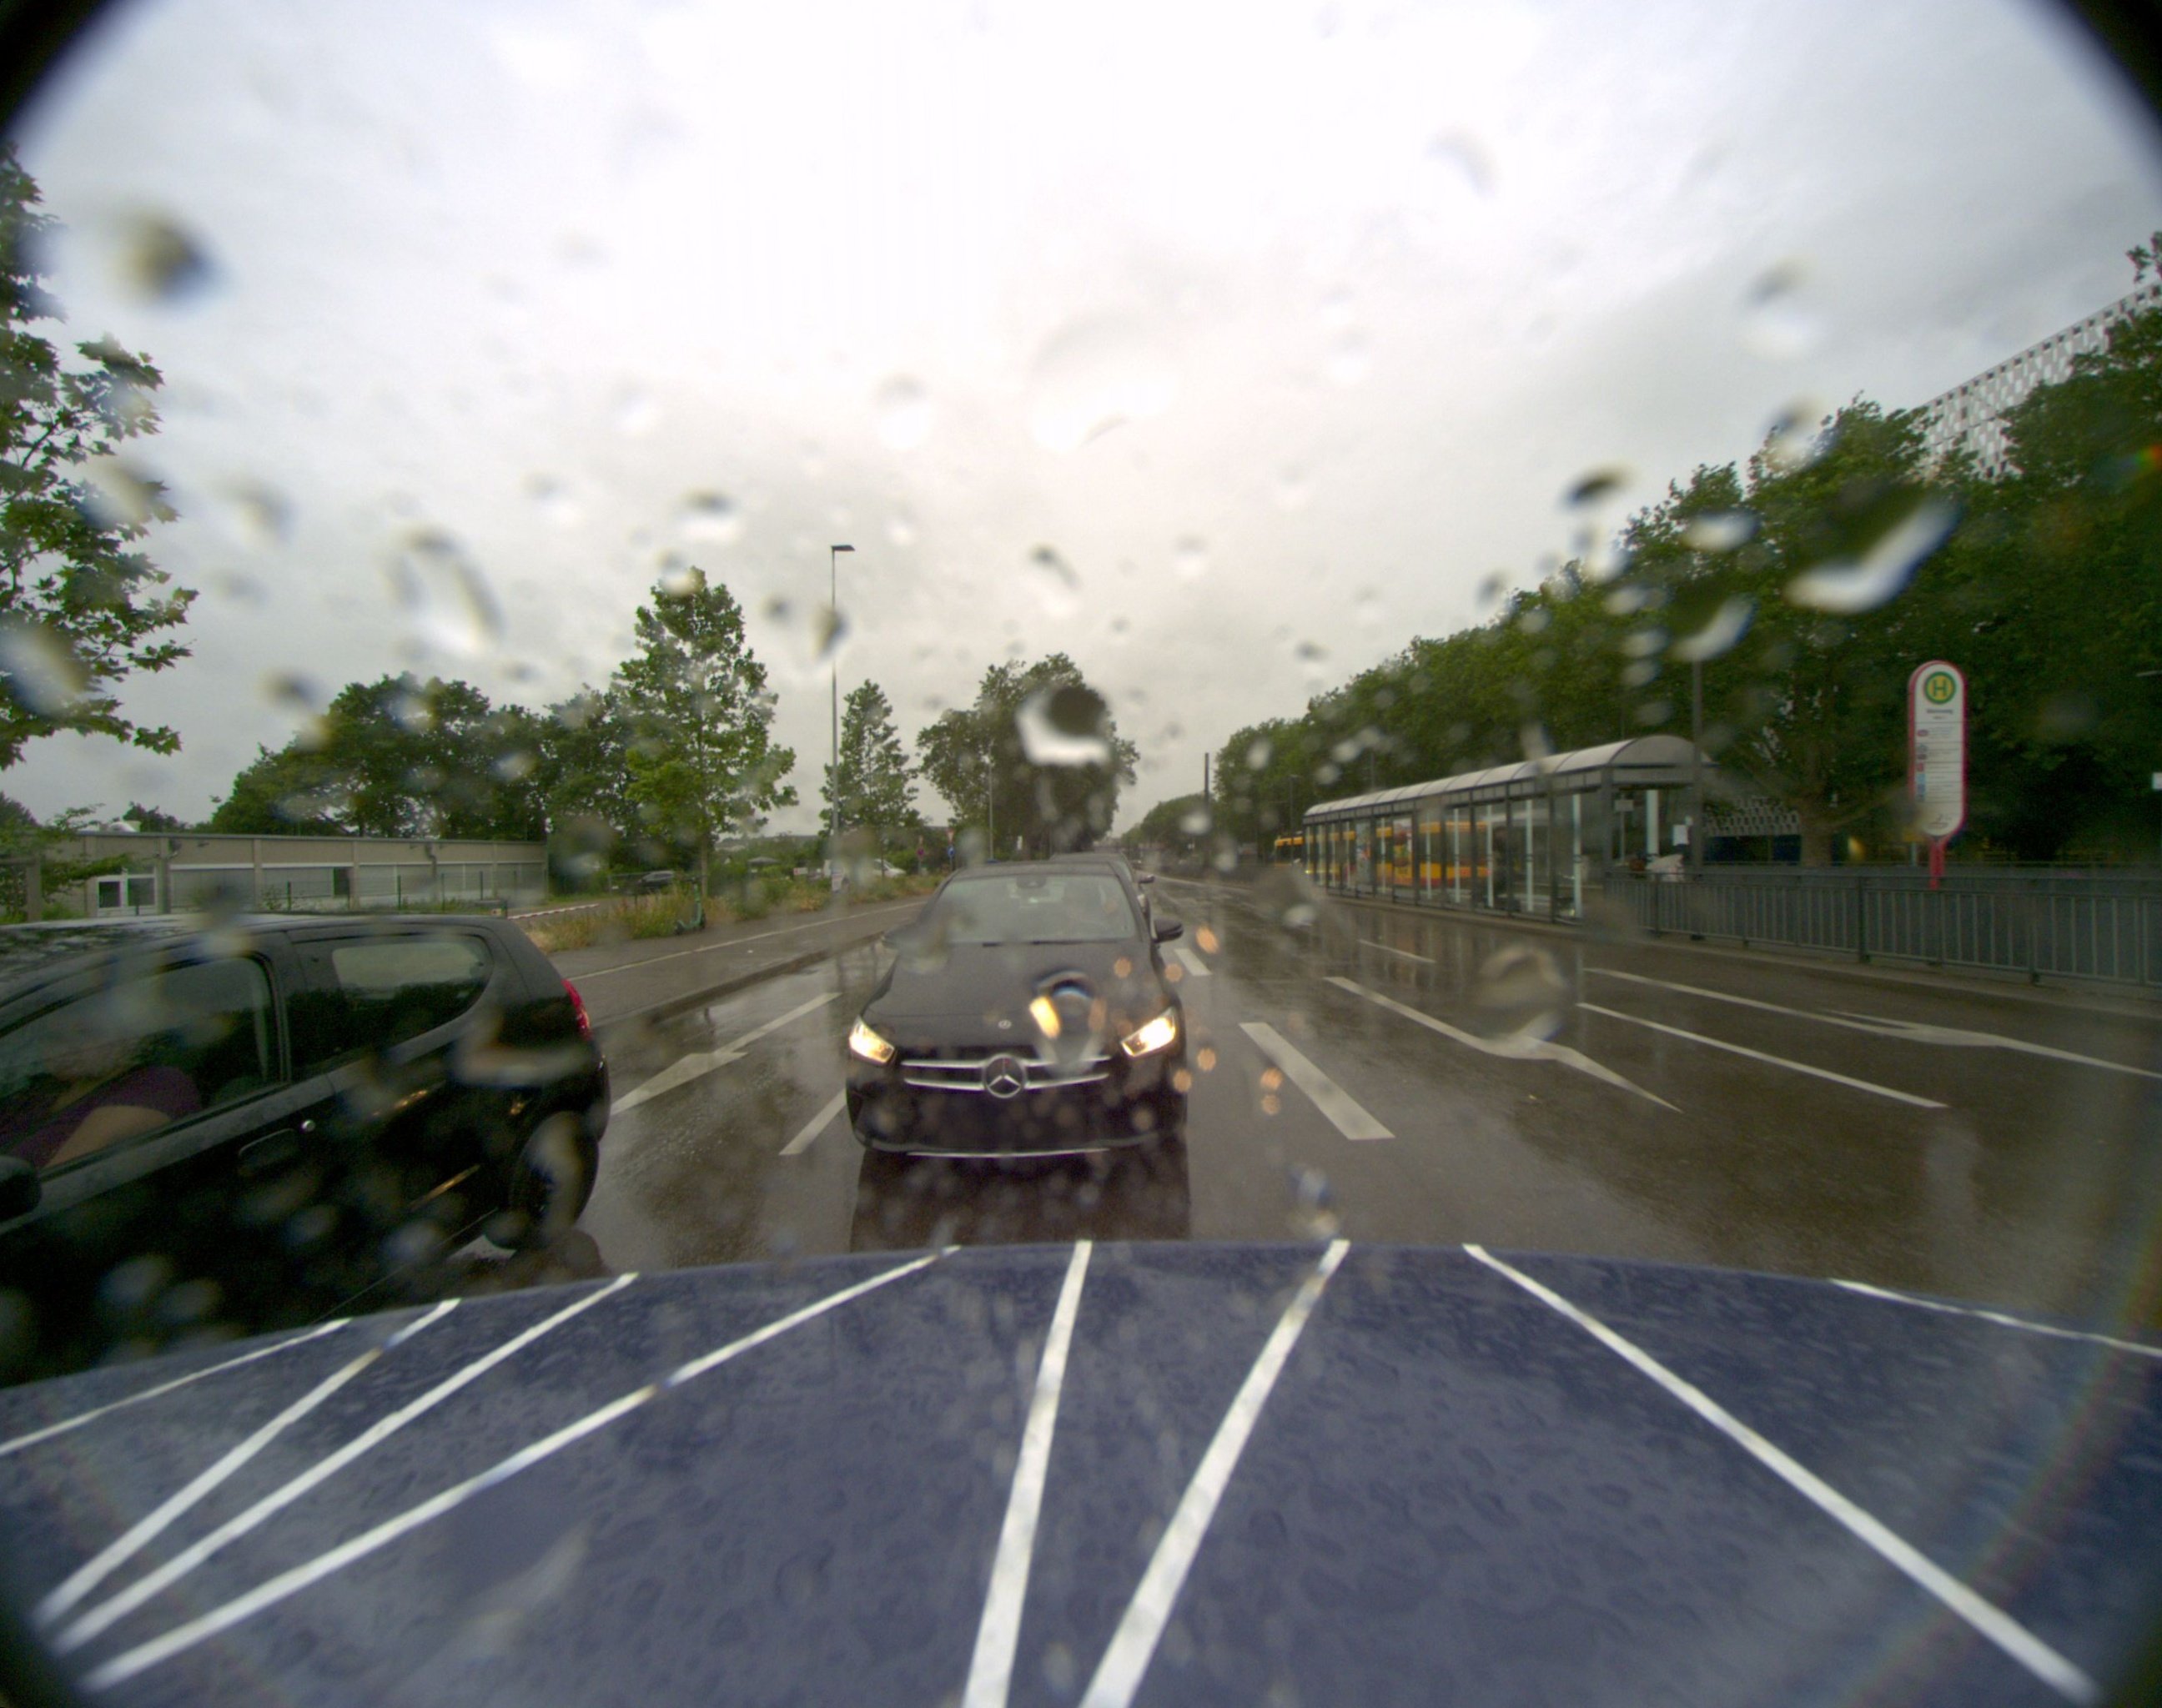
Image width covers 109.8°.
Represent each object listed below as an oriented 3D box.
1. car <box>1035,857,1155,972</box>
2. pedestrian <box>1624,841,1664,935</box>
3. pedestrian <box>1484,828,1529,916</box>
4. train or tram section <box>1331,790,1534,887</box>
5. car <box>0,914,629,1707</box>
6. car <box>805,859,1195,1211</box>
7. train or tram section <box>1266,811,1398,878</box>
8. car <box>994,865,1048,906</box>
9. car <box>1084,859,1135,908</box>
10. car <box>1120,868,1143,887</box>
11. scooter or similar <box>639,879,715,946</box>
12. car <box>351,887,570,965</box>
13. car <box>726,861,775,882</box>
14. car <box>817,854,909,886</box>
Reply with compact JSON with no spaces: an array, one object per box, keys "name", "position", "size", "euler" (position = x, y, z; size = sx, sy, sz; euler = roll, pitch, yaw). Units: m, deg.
[{"name":"car","position":[0.258,0.874,12.807],"size":[1.689,1.611,4.000],"euler":[-1,0,2]},{"name":"pedestrian","position":[9.160,0.543,12.367],"size":[0.321,1.485,0.415],"euler":[-3,2,6]},{"name":"pedestrian","position":[9.298,0.386,16.642],"size":[0.655,1.860,0.773],"euler":[-2,1,17]},{"name":"train or tram section","position":[16.504,-0.676,37.564],"size":[3.751,3.817,13.253],"euler":[-3,0,0]},{"name":"car","position":[-2.968,1.052,1.795],"size":[1.557,1.500,3.618],"euler":[-2,0,1]},{"name":"car","position":[-0.197,0.860,5.564],"size":[1.758,1.572,4.171],"euler":[-2,0,5]},{"name":"train or tram section","position":[16.505,-0.600,52.014],"size":[3.751,3.777,15.569],"euler":[-3,0,0]},{"name":"car","position":[-2.205,1.144,28.685],"size":[1.617,1.301,3.717],"euler":[-3,0,1]},{"name":"car","position":[0.945,0.997,27.002],"size":[1.557,1.541,3.717],"euler":[-3,0,0]},{"name":"car","position":[3.886,1.808,59.072],"size":[1.557,1.301,3.717],"euler":[-3,0,1]},{"name":"scooter or similar","position":[-8.188,1.154,15.480],"size":[0.367,1.192,1.913],"euler":[-2,1,4]},{"name":"car","position":[-12.026,1.374,14.820],"size":[3.243,1.281,1.345],"euler":[-3,1,6]},{"name":"car","position":[-28.236,1.497,65.014],"size":[3.552,1.574,1.345],"euler":[-3,1,6]},{"name":"car","position":[-13.733,0.983,48.183],"size":[5.174,1.715,2.006],"euler":[-3,1,-1]}]
